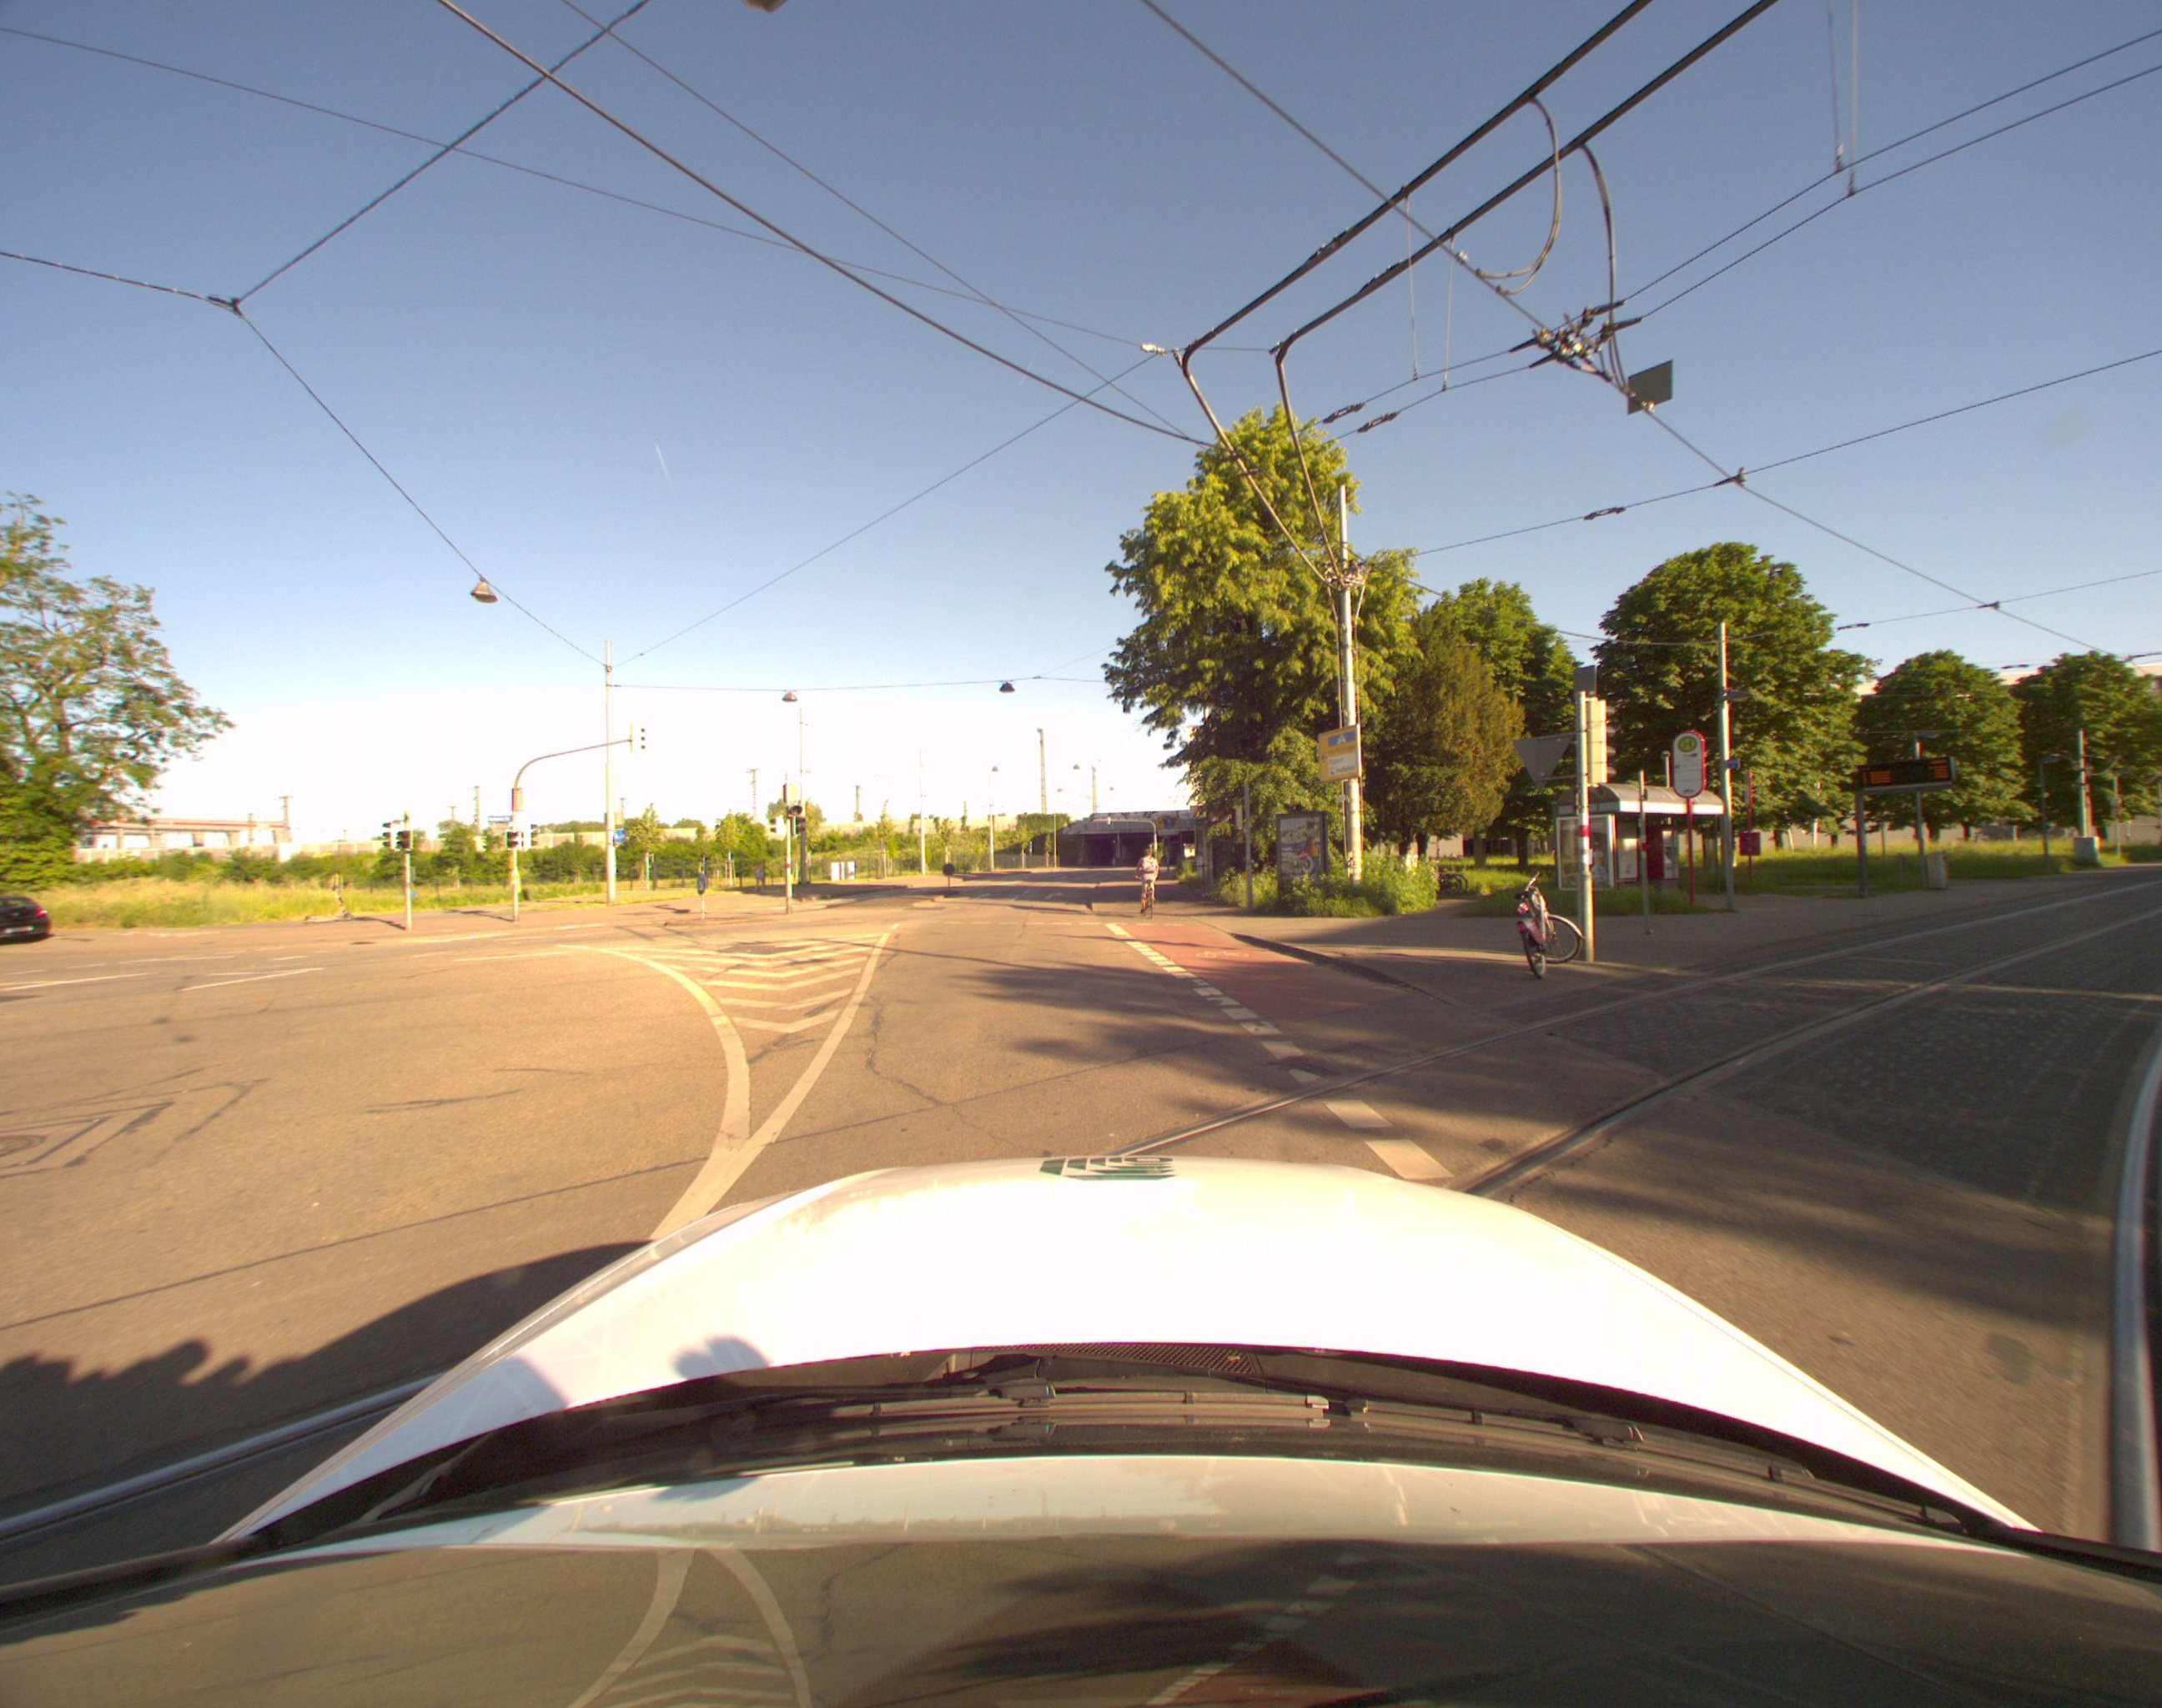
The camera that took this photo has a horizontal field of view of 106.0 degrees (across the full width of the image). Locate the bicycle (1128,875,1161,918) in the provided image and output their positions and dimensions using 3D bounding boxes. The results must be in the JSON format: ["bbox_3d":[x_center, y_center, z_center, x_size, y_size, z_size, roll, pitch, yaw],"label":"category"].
[{"bbox_3d":[1.727,1.156,22.547,0.665,1.059,2.080,-1,0,-2],"label":"bicycle"}]

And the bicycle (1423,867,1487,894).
[{"bbox_3d":[12.789,0.901,27.892,1.859,0.906,0.664,-1,0,41],"label":"bicycle"}]

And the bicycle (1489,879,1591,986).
[{"bbox_3d":[5.489,0.870,9.673,0.817,1.059,1.895,-1,0,36],"label":"bicycle"}]

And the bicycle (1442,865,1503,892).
[{"bbox_3d":[14.058,0.869,29.289,1.859,0.906,0.664,-1,0,41],"label":"bicycle"}]

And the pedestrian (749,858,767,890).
[{"bbox_3d":[-16.269,0.995,41.016,0.596,1.596,0.686,0,0,9],"label":"pedestrian"}]

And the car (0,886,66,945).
[{"bbox_3d":[-31.580,1.775,22.881,3.965,1.419,1.899,-1,6,7],"label":"car"}]

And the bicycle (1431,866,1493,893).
[{"bbox_3d":[13.387,0.903,28.668,1.859,0.906,0.664,-1,0,41],"label":"bicycle"}]

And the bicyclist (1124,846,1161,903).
[{"bbox_3d":[1.685,0.538,22.493,0.838,1.510,1.368,-1,0,-2],"label":"bicyclist"}]

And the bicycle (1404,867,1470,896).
[{"bbox_3d":[11.555,0.882,26.471,1.859,0.906,0.664,-1,0,41],"label":"bicycle"}]

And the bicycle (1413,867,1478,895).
[{"bbox_3d":[12.182,0.899,27.244,1.859,0.906,0.664,-1,0,41],"label":"bicycle"}]
